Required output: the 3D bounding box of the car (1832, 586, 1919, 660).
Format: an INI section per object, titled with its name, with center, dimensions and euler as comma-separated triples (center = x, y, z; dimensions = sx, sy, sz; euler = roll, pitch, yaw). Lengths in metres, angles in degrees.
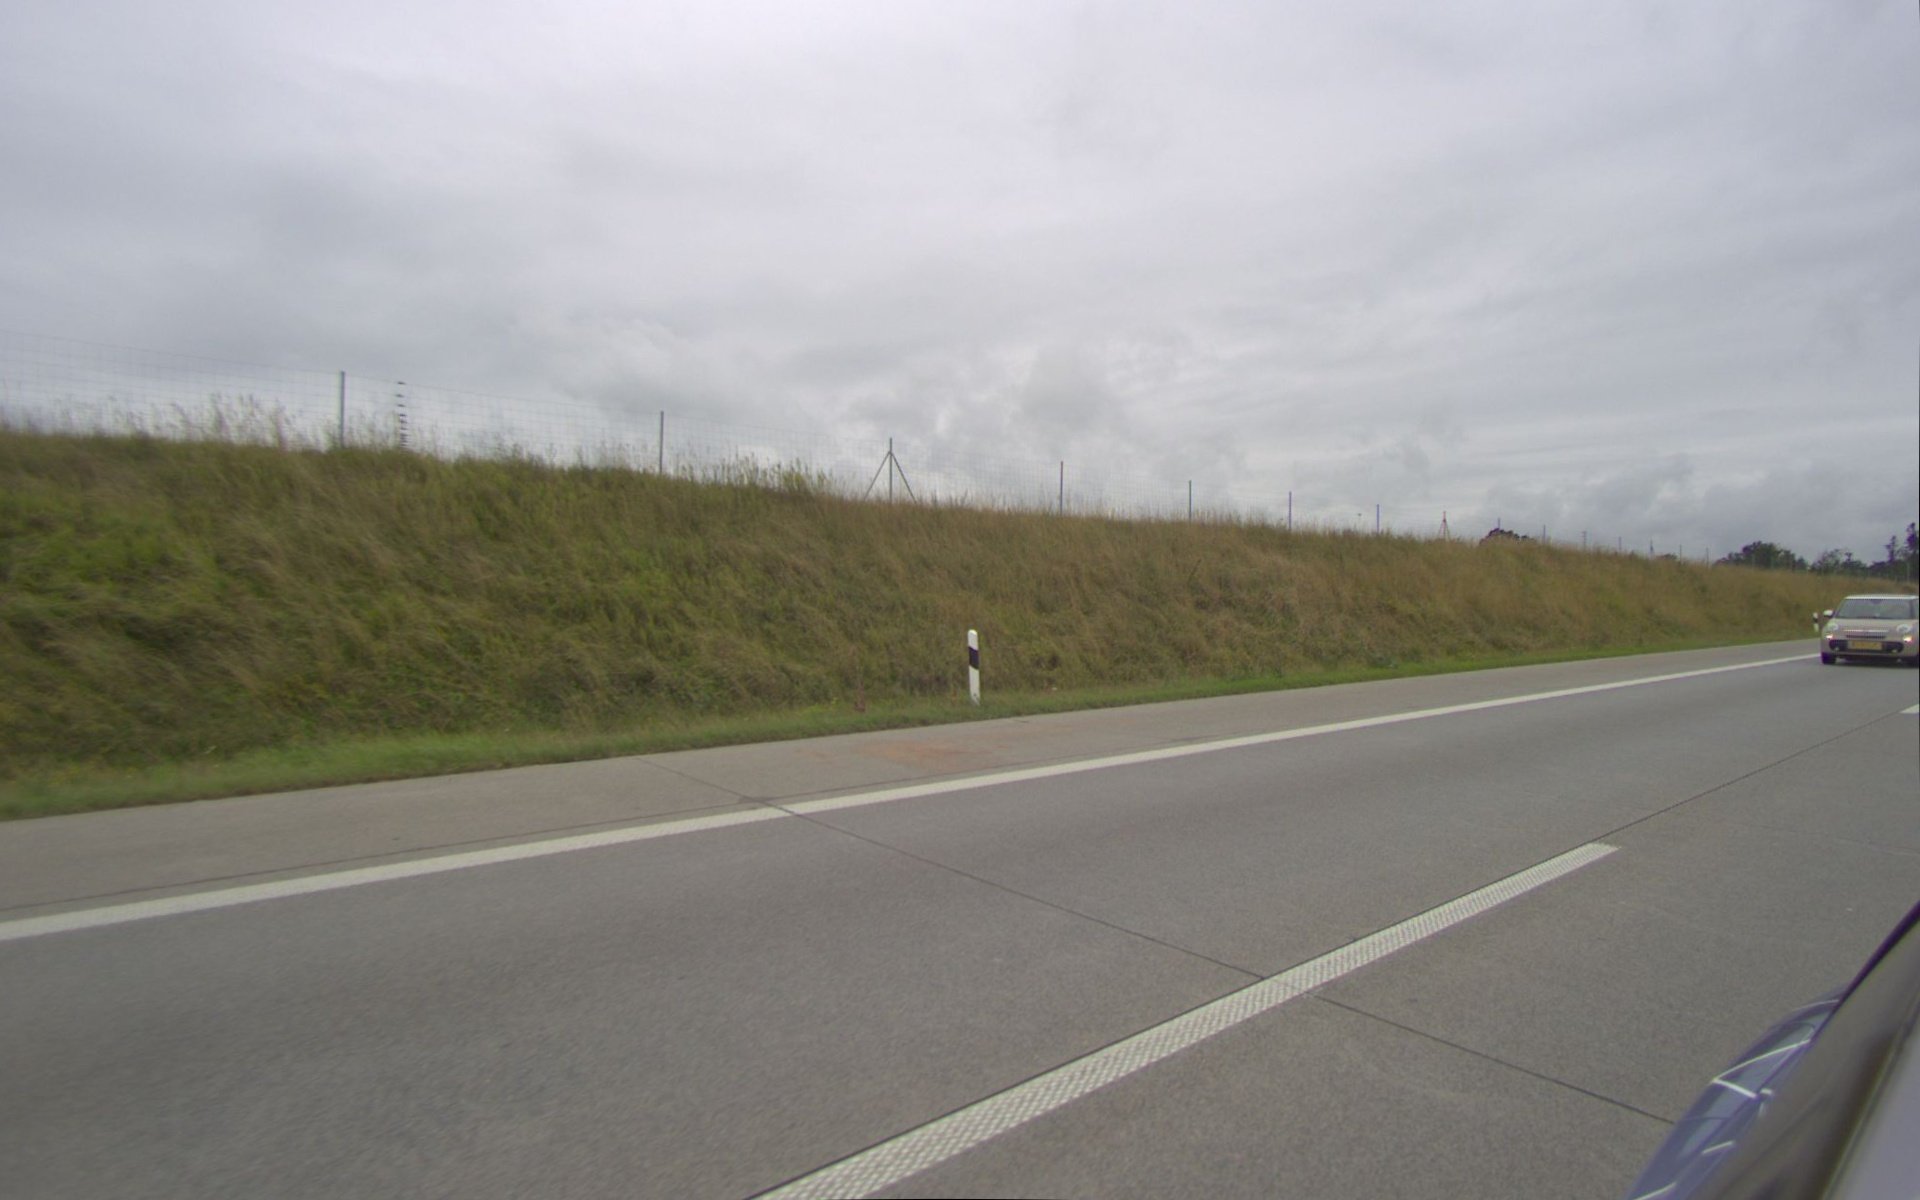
[car]
center = 22.329, 0.520, 24.007
dimensions = 4.488, 1.625, 1.789
euler = 1, 0, -40
